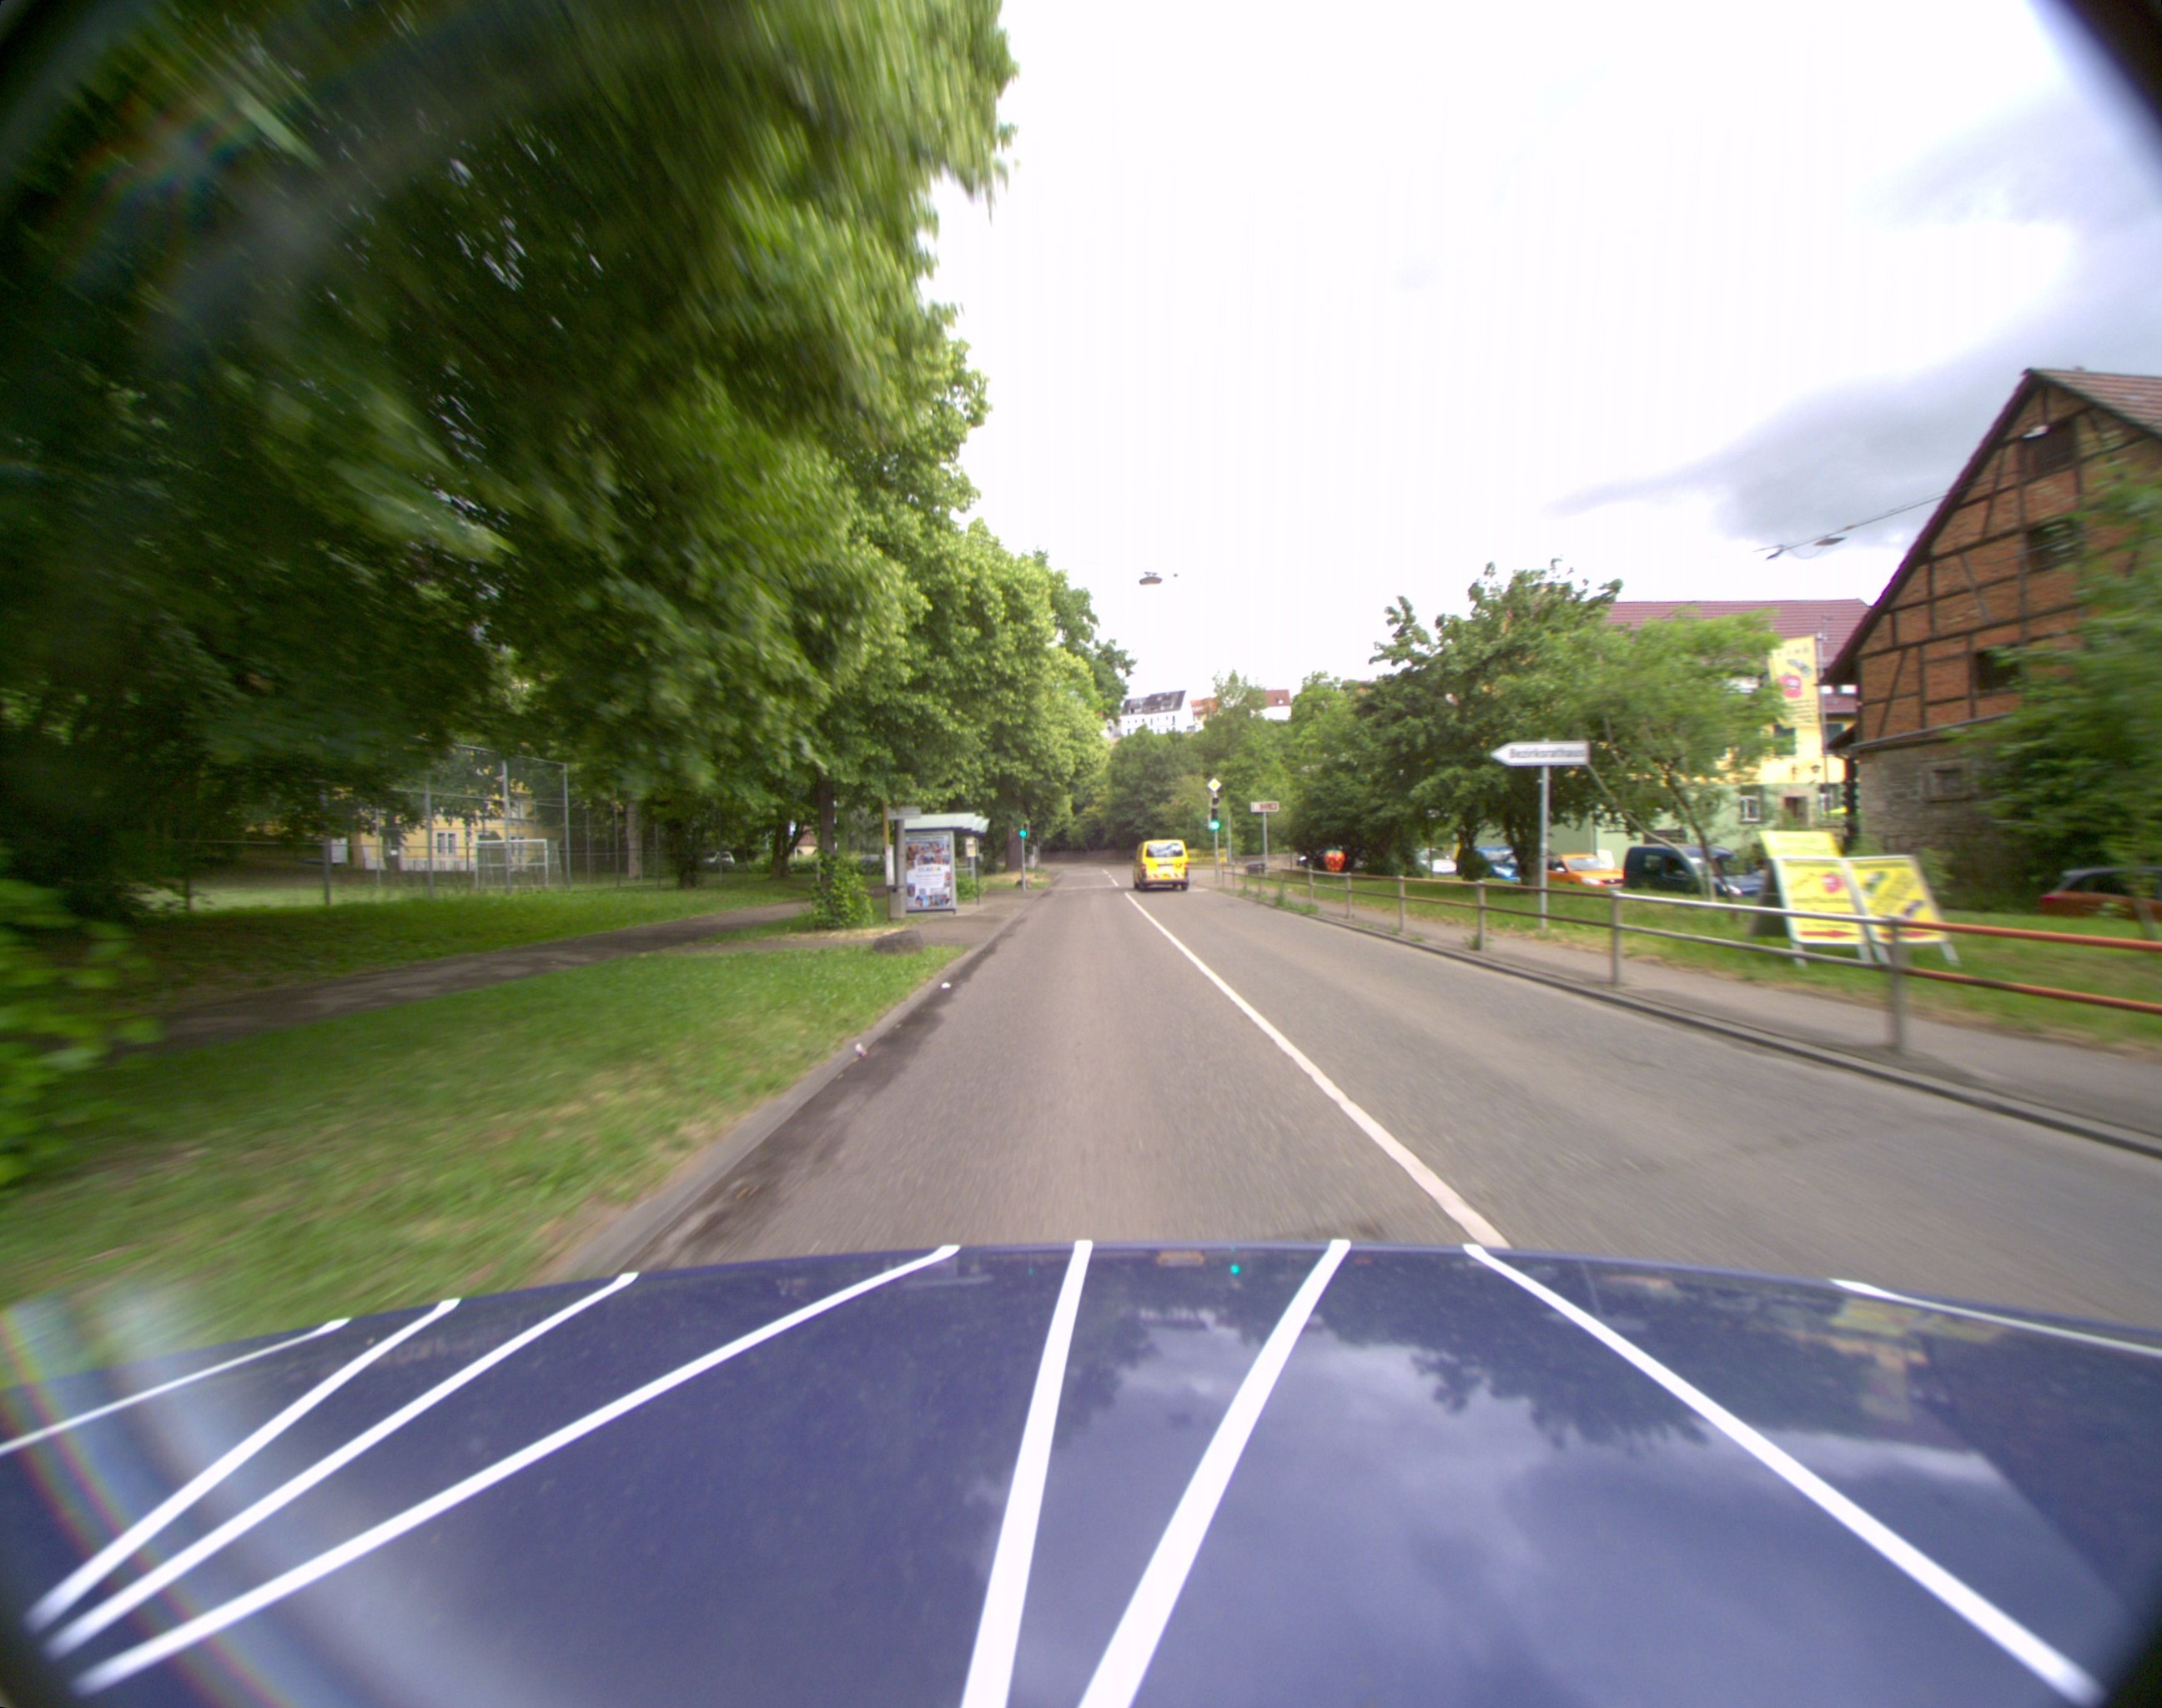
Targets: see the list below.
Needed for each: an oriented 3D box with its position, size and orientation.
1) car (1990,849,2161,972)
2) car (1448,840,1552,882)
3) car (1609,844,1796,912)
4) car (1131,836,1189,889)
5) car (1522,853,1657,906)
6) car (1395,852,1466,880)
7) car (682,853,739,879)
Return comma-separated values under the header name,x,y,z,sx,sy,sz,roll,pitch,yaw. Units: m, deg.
name,x,y,z,sx,sy,sz,roll,pitch,yaw
car,15.138,0.748,9.936,1.815,1.608,4.001,0,0,3
car,17.037,0.252,31.181,1.998,1.608,4.448,0,0,3
car,16.086,0.560,19.976,1.815,1.608,4.001,0,0,3
car,3.106,0.314,30.871,1.850,1.919,4.768,-2,1,1
car,16.743,0.772,25.287,1.952,1.608,4.001,0,0,3
car,17.421,0.569,38.051,1.649,1.337,4.152,0,0,0
car,-25.883,0.869,53.215,1.999,1.640,4.001,2,-2,-1
